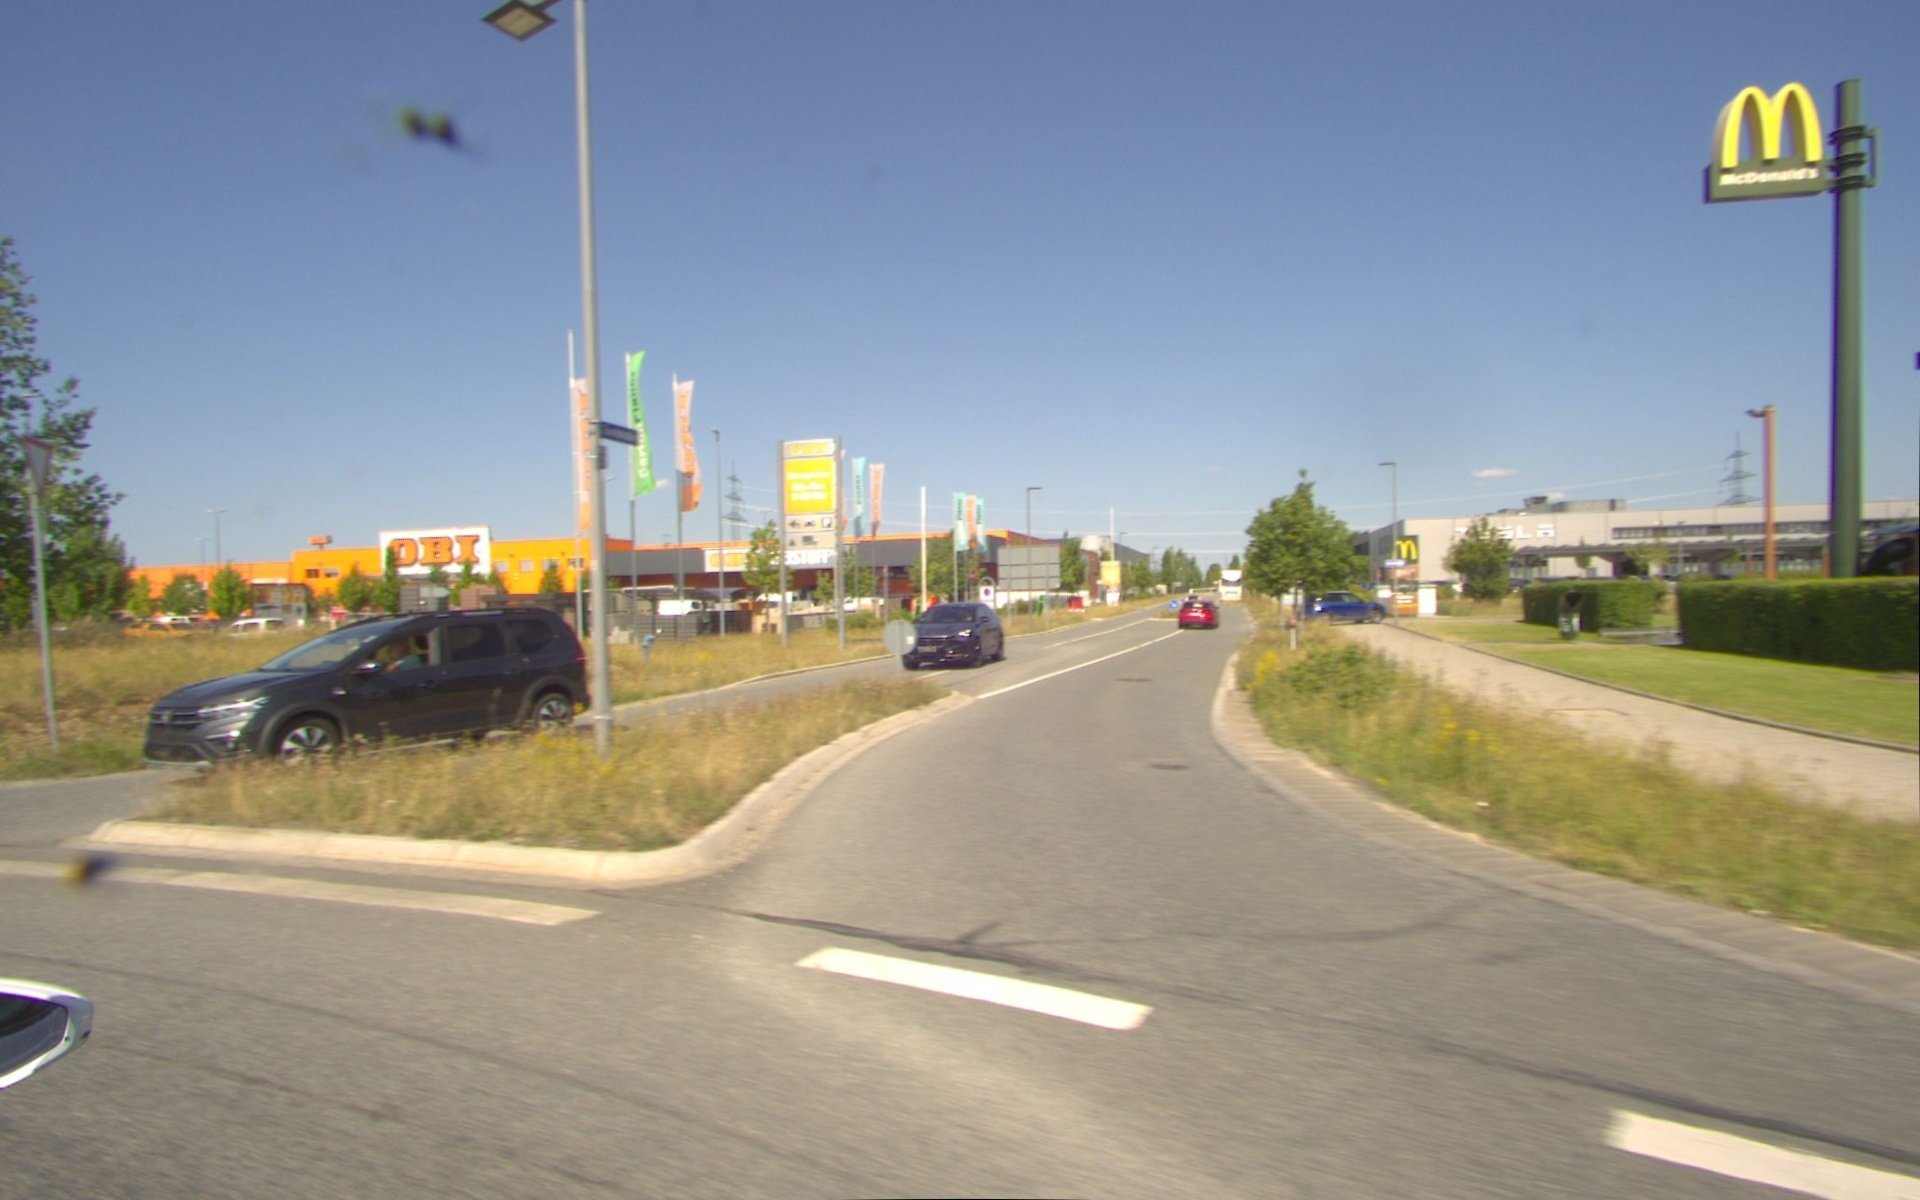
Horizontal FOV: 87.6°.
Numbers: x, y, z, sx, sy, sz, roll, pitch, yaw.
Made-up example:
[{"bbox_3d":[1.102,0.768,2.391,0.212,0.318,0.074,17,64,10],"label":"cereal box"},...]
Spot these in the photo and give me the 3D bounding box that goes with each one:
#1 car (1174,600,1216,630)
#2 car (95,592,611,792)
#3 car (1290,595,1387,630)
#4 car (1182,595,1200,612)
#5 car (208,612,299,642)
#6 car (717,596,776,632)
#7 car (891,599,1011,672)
[{"bbox_3d":[11.871,0.725,50.464,1.776,1.435,4.110,0,1,17],"label":"car"},{"bbox_3d":[-6.410,0.826,11.266,1.927,1.728,4.609,-2,0,27],"label":"car"},{"bbox_3d":[18.529,0.619,49.122,4.001,1.657,1.856,0,0,-5],"label":"car"},{"bbox_3d":[20.133,0.291,87.132,1.486,1.460,3.347,-1,0,14],"label":"car"},{"bbox_3d":[-41.416,1.576,58.730,3.922,1.639,1.999,-1,1,4],"label":"car"},{"bbox_3d":[-11.652,0.780,54.867,1.669,1.865,3.771,-1,-1,14],"label":"car"},{"bbox_3d":[-0.113,0.843,25.842,2.040,1.648,4.692,-2,0,13],"label":"car"}]
